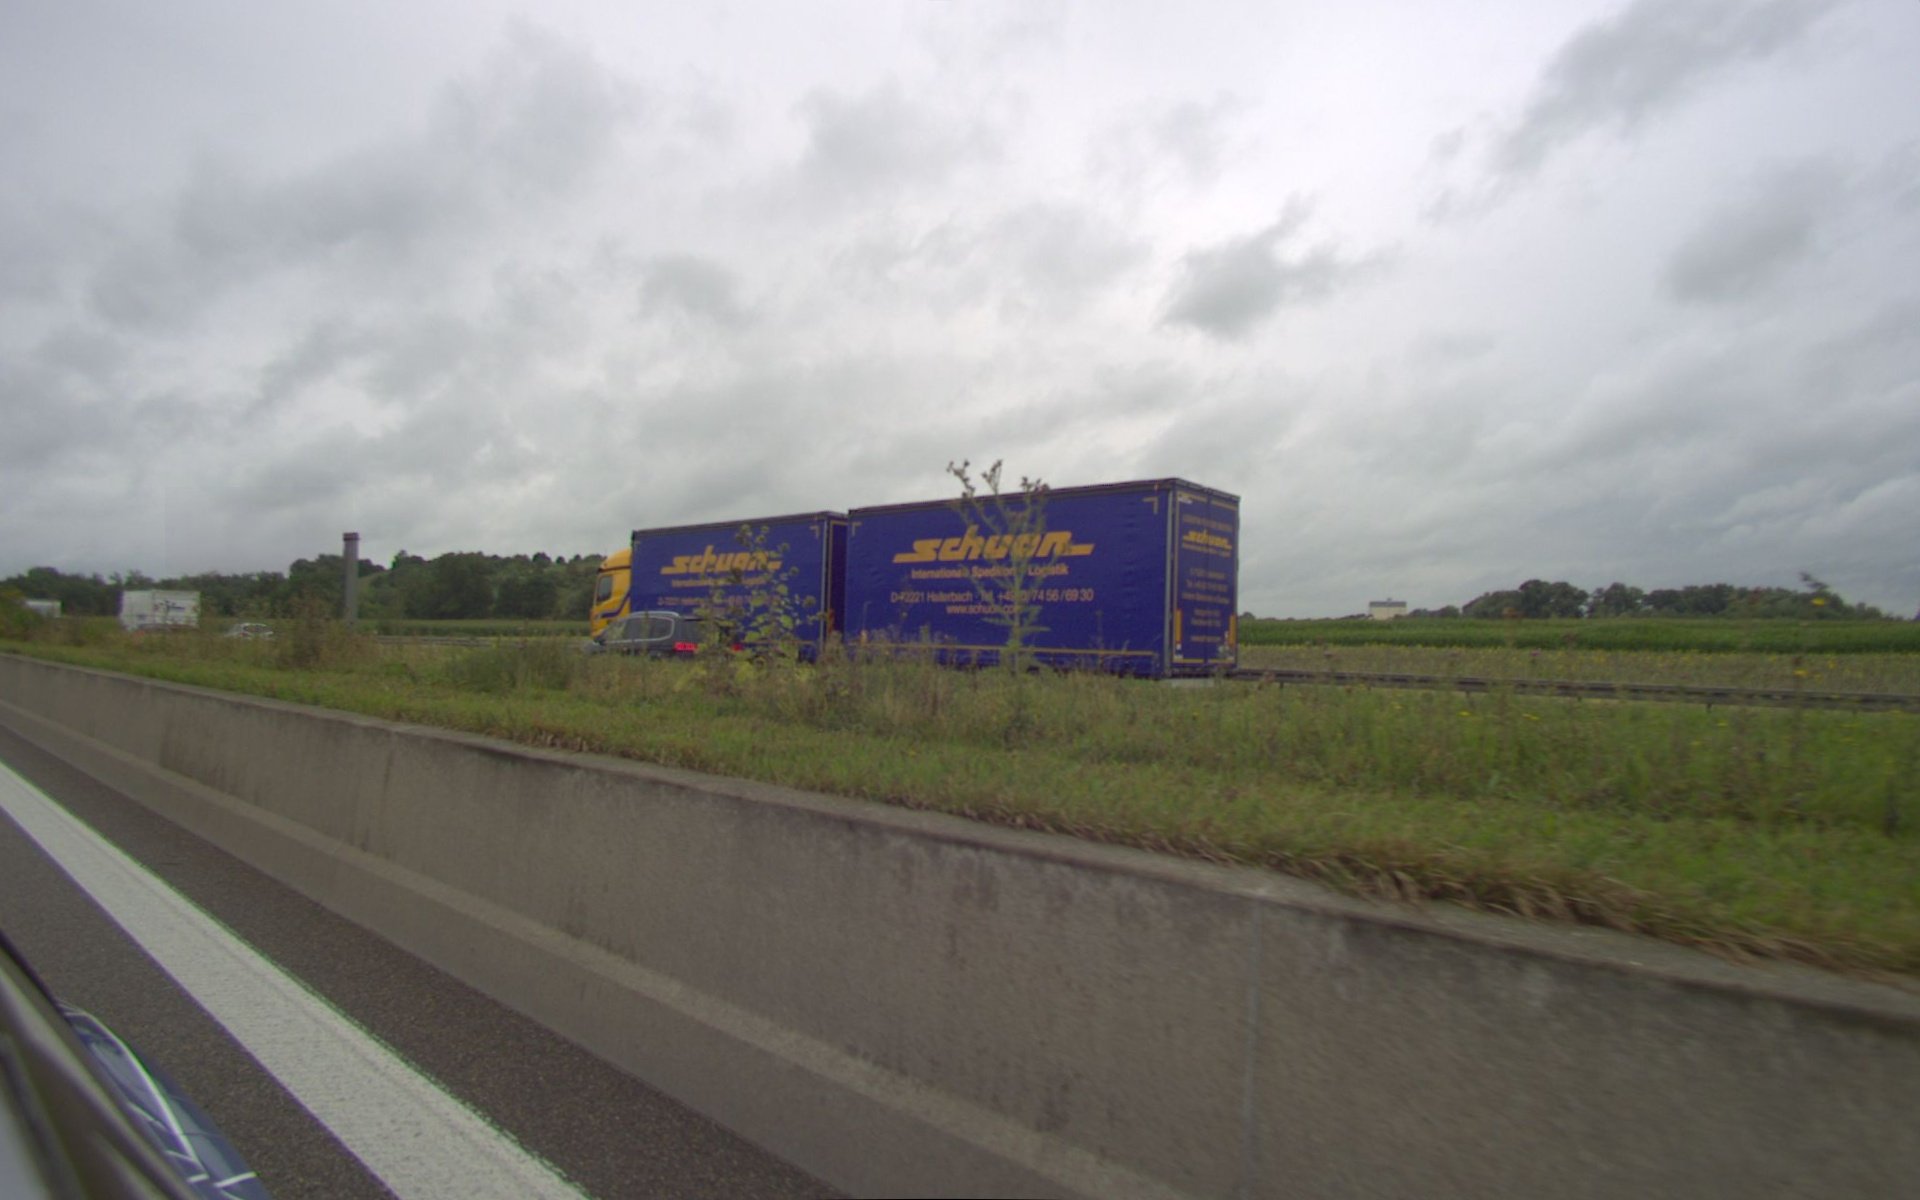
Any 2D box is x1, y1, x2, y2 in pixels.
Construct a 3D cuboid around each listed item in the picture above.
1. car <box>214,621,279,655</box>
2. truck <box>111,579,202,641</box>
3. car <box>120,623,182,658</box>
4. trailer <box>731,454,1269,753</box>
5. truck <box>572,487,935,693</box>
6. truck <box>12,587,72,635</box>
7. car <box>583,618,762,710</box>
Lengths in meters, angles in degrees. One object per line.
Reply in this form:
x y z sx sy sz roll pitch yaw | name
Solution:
-38.725 2.002 54.884 3.998 1.696 1.973 -1 0 41 | car
-55.160 0.657 69.325 10.809 3.997 3.150 -1 0 42 | truck
-41.909 2.079 52.375 3.998 1.665 1.797 -1 0 41 | car
0.188 0.124 21.305 11.671 4.804 3.353 -1 0 40 | trailer
-5.840 -0.198 26.568 10.985 4.396 3.377 -1 0 41 | truck
-91.906 1.071 101.264 9.667 4.684 3.192 -1 0 41 | truck
-6.276 1.306 21.883 3.998 1.798 1.847 -1 -2 41 | car
